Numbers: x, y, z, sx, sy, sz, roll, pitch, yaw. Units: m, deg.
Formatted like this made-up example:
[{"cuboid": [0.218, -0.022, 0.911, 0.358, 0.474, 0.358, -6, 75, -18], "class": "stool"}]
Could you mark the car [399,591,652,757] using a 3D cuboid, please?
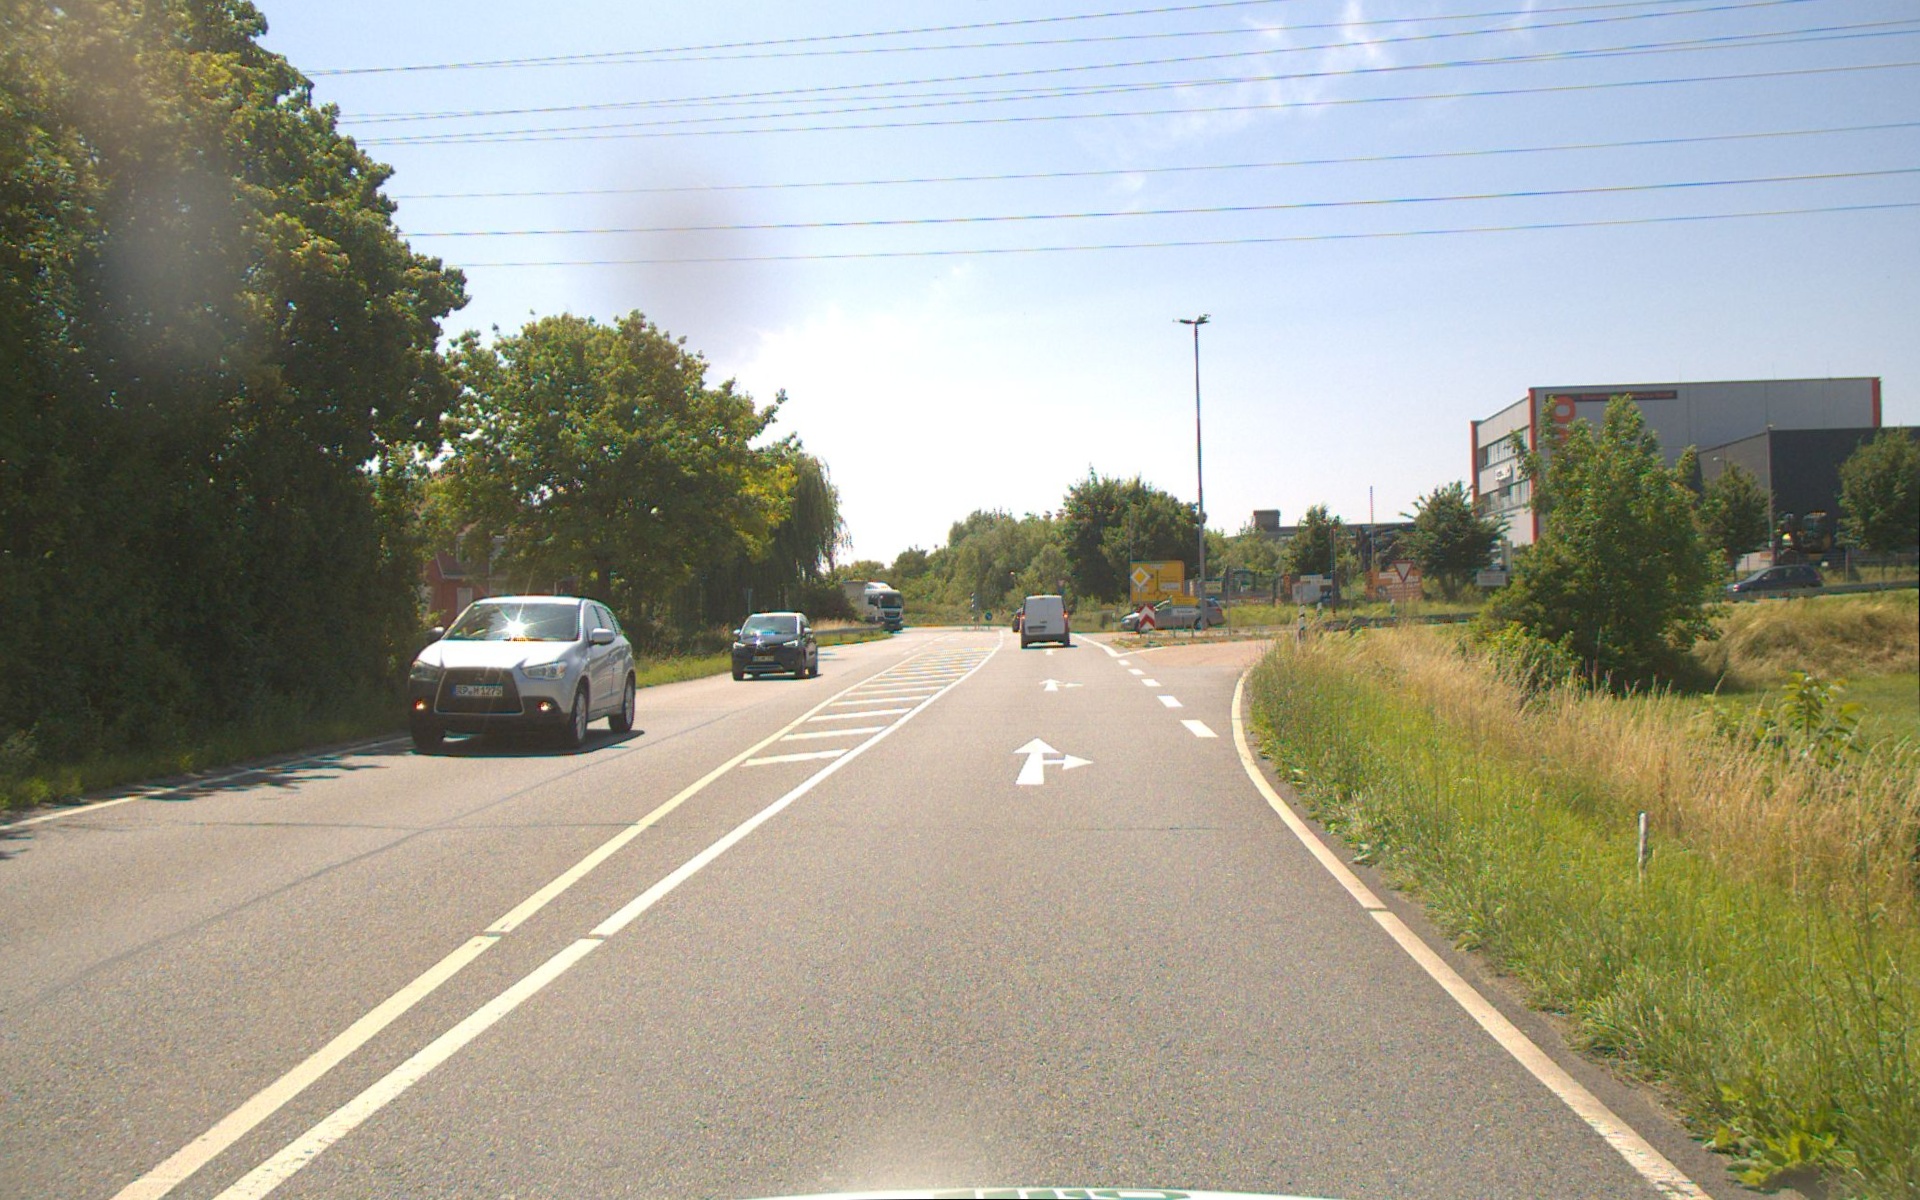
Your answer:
[{"cuboid": [-4.704, 0.741, 18.557, 1.706, 1.617, 4.529, 1, 0, -1], "class": "car"}]

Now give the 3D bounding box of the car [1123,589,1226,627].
[{"cuboid": [9.654, 0.353, 74.552, 4.418, 1.534, 1.915, -2, 0, 2], "class": "car"}]

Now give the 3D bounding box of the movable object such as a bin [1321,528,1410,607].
[{"cuboid": [28.341, -2.231, 115.884, 5.595, 5.362, 3.223, 0, -2, 5], "class": "movable object such as a bin"}]

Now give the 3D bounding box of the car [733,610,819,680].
[{"cuboid": [-4.445, 1.055, 40.465, 1.697, 1.618, 3.957, 0, 0, 0], "class": "car"}]

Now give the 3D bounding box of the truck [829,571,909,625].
[{"cuboid": [-7.266, -0.160, 131.278, 2.777, 4.127, 6.645, 0, 0, -43], "class": "truck"}]

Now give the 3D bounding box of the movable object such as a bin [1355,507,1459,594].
[{"cuboid": [27.785, -3.038, 103.056, 5.793, 5.195, 3.110, 0, -2, 5], "class": "movable object such as a bin"}]

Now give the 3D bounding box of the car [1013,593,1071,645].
[{"cuboid": [2.881, 0.682, 58.801, 1.864, 1.763, 3.822, -1, -1, 0], "class": "car"}]

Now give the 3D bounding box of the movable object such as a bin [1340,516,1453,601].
[{"cuboid": [28.148, -2.649, 106.937, 6.452, 5.238, 3.808, 0, -2, 5], "class": "movable object such as a bin"}]

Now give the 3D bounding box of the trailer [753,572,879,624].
[{"cuboid": [-11.992, -0.198, 136.410, 2.777, 4.127, 13.287, 0, 0, -43], "class": "trailer"}]

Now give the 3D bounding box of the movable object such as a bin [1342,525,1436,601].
[{"cuboid": [25.463, -2.156, 98.330, 4.977, 4.350, 2.835, 0, -2, 5], "class": "movable object such as a bin"}]

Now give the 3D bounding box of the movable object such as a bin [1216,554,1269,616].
[{"cuboid": [16.091, -0.814, 94.548, 2.275, 3.307, 5.102, 0, -2, 2], "class": "movable object such as a bin"}]
